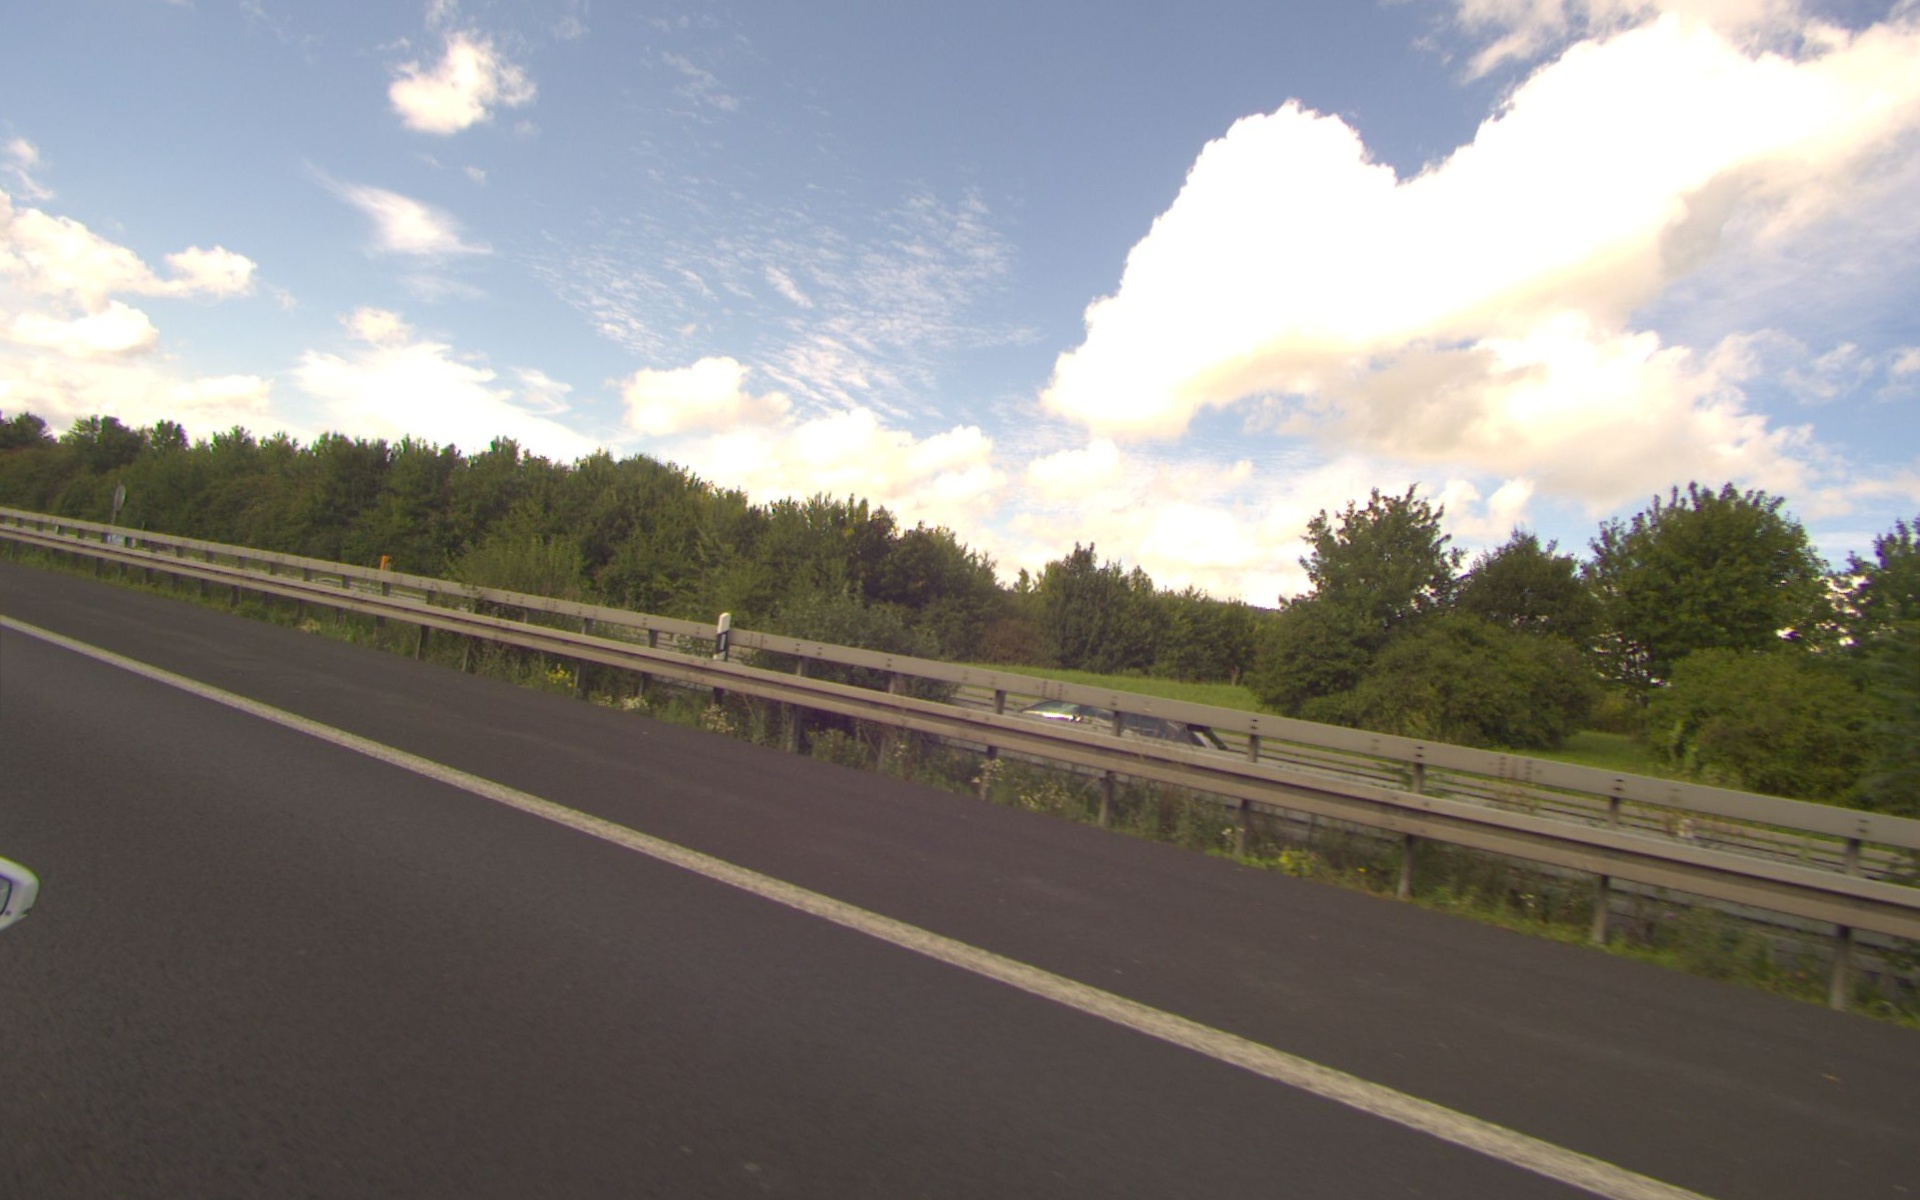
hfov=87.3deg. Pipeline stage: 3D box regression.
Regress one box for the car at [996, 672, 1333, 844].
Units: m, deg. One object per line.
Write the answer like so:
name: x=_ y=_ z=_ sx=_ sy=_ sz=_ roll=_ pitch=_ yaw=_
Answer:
car: x=2.881 y=2.159 z=14.546 sx=4.274 sy=1.589 sz=1.787 roll=7 pitch=-2 yaw=34
